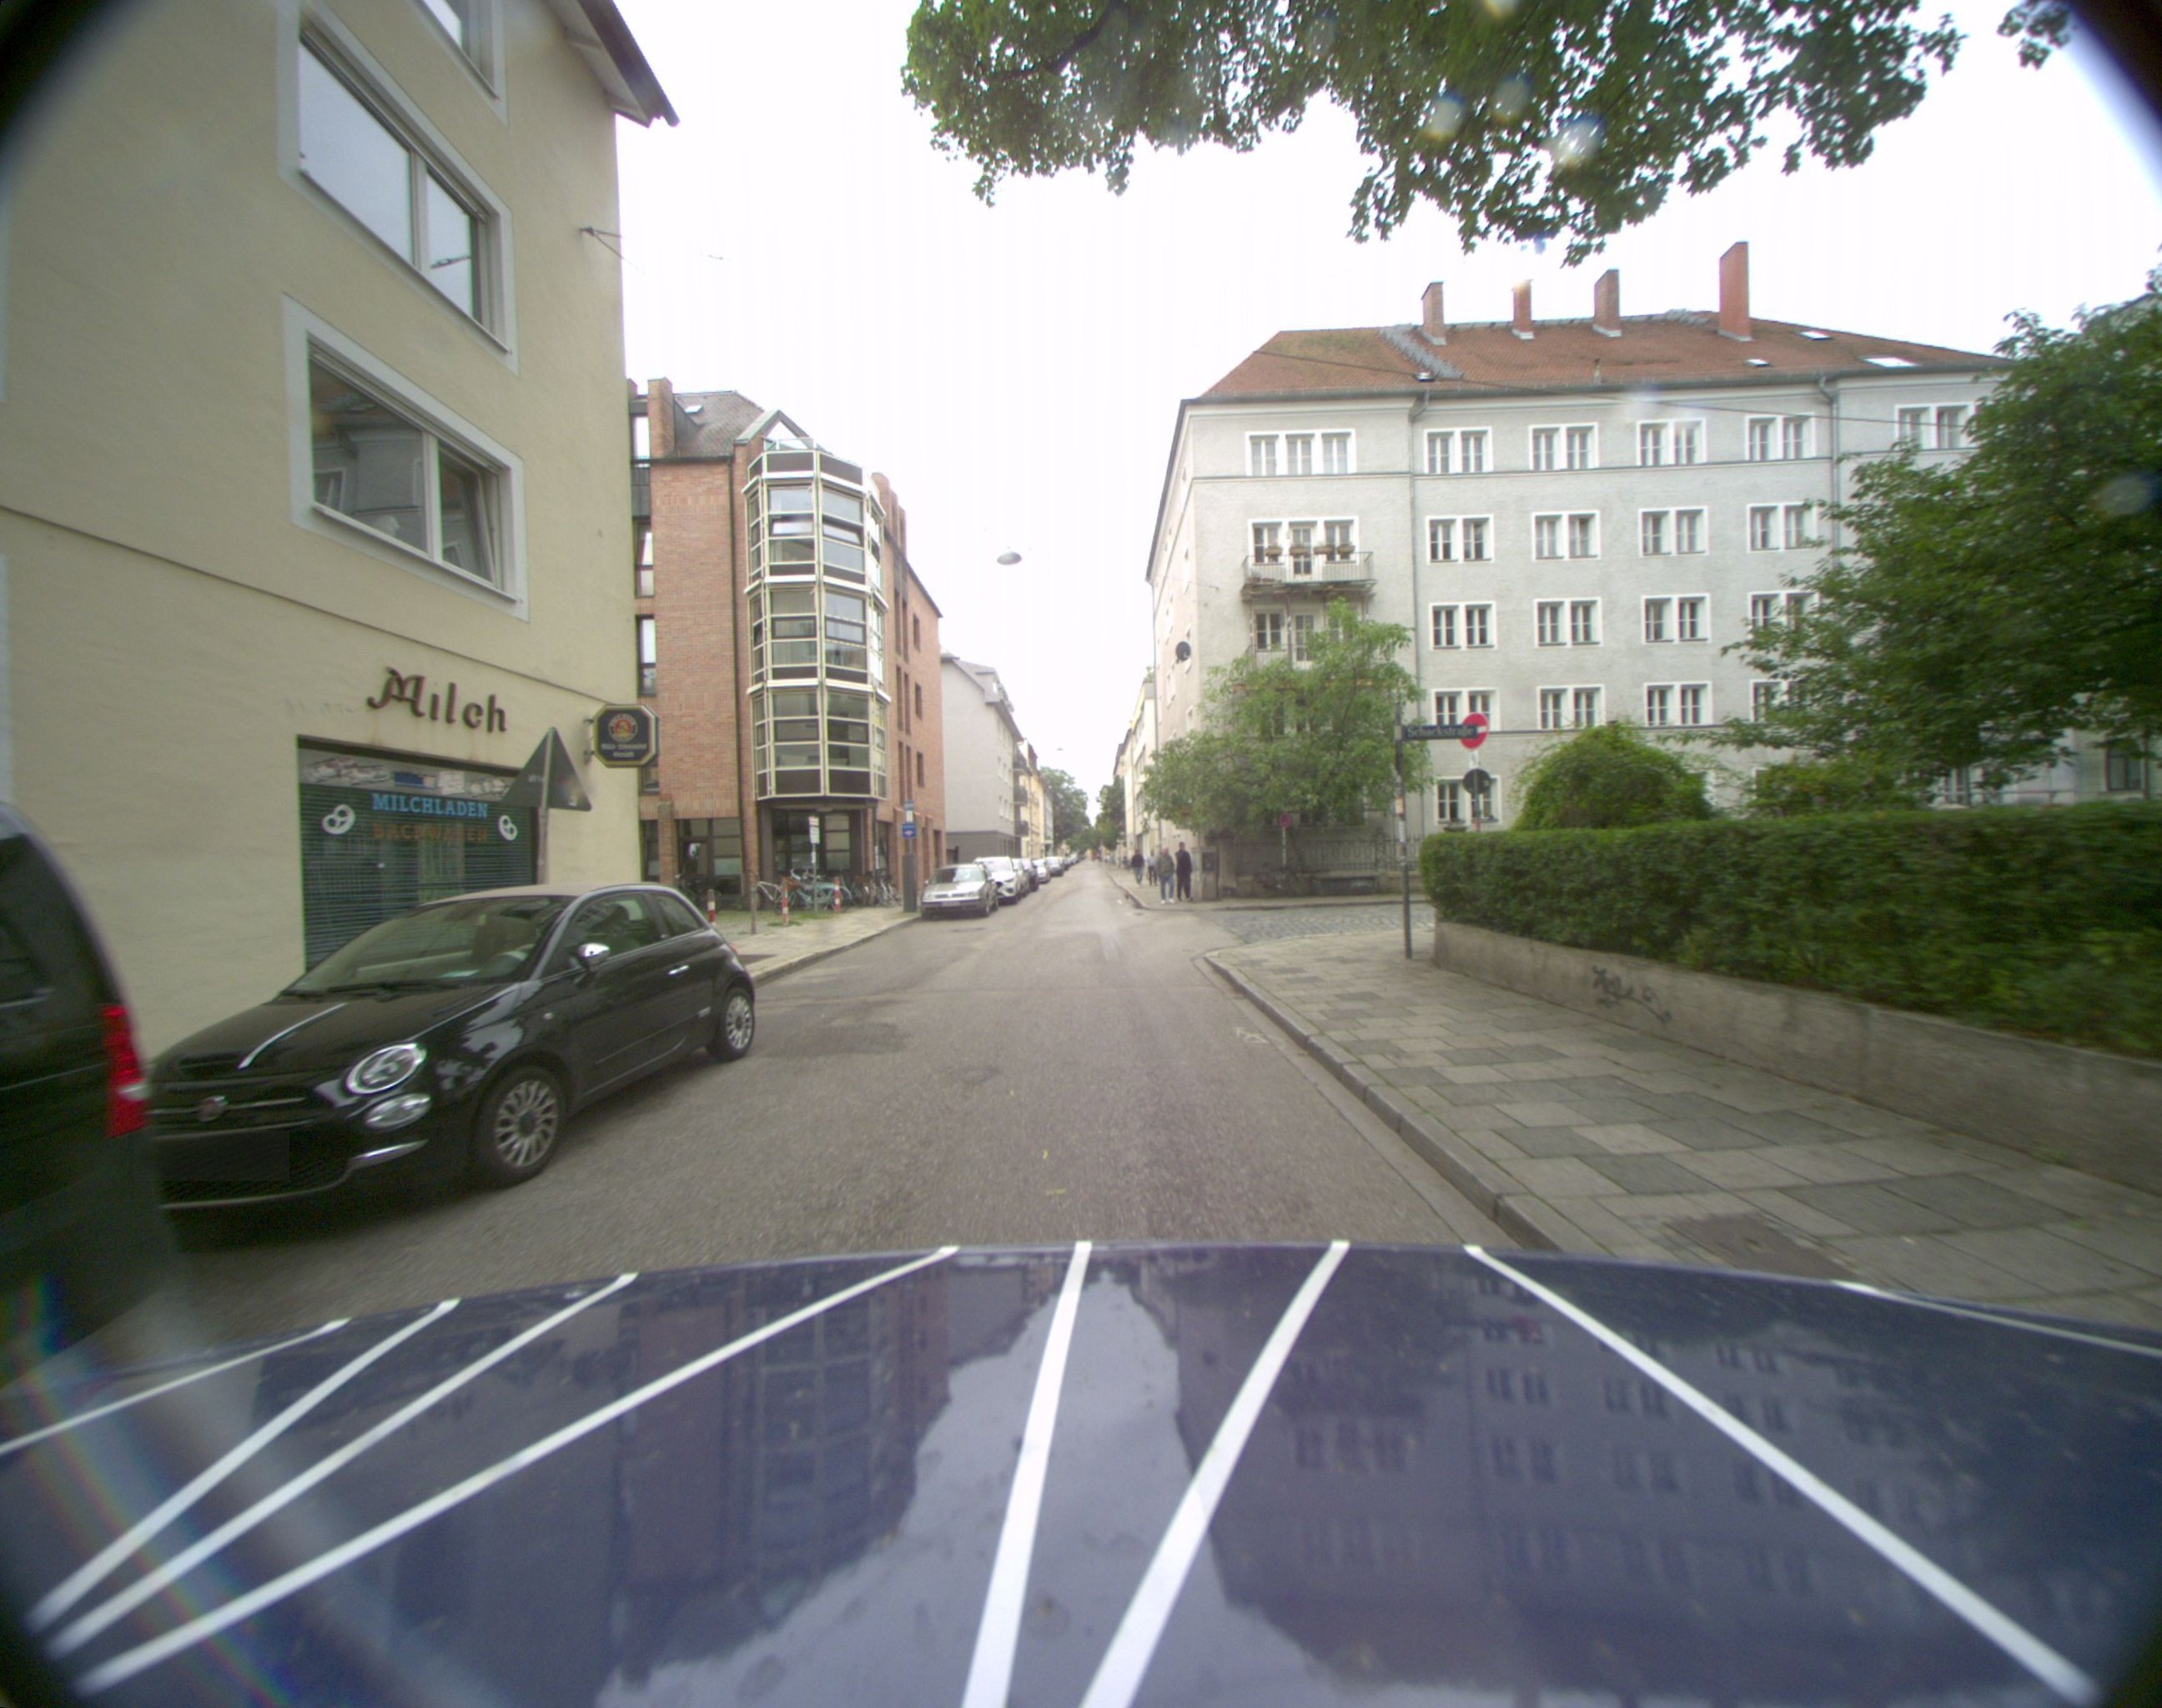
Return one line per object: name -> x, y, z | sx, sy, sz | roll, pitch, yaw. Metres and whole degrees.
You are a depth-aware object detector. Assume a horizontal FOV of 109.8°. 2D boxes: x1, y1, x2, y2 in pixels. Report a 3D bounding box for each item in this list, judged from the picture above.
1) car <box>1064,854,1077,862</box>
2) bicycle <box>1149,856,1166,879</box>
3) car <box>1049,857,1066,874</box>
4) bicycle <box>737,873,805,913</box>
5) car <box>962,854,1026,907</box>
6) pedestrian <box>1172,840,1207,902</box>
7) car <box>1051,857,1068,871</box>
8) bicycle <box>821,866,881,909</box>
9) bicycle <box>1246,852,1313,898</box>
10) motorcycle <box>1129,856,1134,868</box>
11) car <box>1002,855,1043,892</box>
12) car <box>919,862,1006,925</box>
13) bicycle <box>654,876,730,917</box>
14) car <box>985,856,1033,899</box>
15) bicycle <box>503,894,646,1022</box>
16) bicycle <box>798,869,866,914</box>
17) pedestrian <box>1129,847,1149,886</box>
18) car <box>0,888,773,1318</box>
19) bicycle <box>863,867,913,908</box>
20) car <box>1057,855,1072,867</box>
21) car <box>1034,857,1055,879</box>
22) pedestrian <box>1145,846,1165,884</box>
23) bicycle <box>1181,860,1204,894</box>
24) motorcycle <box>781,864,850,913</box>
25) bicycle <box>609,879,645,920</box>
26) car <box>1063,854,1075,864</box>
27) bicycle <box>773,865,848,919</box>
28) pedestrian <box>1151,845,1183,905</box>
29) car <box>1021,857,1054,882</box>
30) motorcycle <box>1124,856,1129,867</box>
car -> -1.709, 0.676, 124.971 | 1.998, 1.259, 4.000 | -3, 0, 1
bicycle -> 4.033, 0.716, 40.197 | 0.450, 1.187, 1.498 | -3, 0, -9
car -> -1.862, 0.908, 60.719 | 1.190, 1.312, 2.780 | -3, 0, 1
bicycle -> -8.658, 1.098, 21.237 | 1.752, 1.066, 0.443 | -1, 1, 7
car -> -2.961, 0.869, 26.785 | 1.725, 1.606, 4.454 | -3, 0, -1
pedestrian -> 3.208, 0.490, 22.488 | 0.692, 1.753, 0.741 | -4, 1, -9
car -> -2.015, 0.935, 71.520 | 1.352, 1.259, 3.037 | -3, 0, 1
bicycle -> -6.996, 1.000, 23.110 | 1.872, 1.222, 0.594 | -1, 2, 30
bicycle -> 5.736, 0.608, 21.992 | 1.811, 1.253, 0.432 | -2, 1, 0
motorcycle -> 4.242, 0.698, 63.628 | 0.324, 0.968, 1.961 | -3, 0, 1
car -> -2.764, 0.871, 36.490 | 1.619, 1.570, 4.051 | -3, 0, -1
car -> -3.190, 1.010, 21.220 | 1.725, 1.426, 4.358 | -3, 0, -1
bicycle -> -10.580, 1.160, 20.666 | 1.884, 1.066, 0.443 | -1, 1, 7
car -> -2.896, 0.899, 31.215 | 1.619, 1.548, 3.807 | -3, 0, -1
bicycle -> -5.846, 1.147, 8.903 | 0.411, 1.207, 1.818 | 1, 2, 1
bicycle -> -6.878, 1.031, 20.999 | 1.752, 1.180, 0.443 | 0, 1, 7
pedestrian -> 2.713, 0.560, 35.421 | 0.721, 1.718, 0.841 | -6, 1, 1
car -> -3.566, 1.082, 4.806 | 1.638, 1.462, 3.538 | -4, 0, 1
bicycle -> -6.151, 1.059, 24.266 | 0.741, 1.210, 1.782 | -1, 1, 15
car -> -1.848, 0.769, 86.310 | 1.525, 1.259, 3.210 | -3, 0, 1
car -> -2.451, 0.934, 51.666 | 1.154, 1.367, 2.685 | -3, 0, 1
pedestrian -> 3.431, 0.500, 35.403 | 0.695, 1.718, 0.841 | -6, 1, 1
bicycle -> 3.788, 0.771, 25.938 | 0.432, 1.088, 1.703 | -3, 0, -1
motorcycle -> -7.576, 0.968, 21.715 | 1.765, 1.376, 0.552 | 0, 1, -4
bicycle -> -12.490, 1.237, 20.901 | 1.422, 1.066, 0.443 | -1, 1, 43
car -> -1.706, 0.720, 107.537 | 1.557, 1.280, 3.538 | -3, 0, 1
bicycle -> -7.210, 0.992, 20.288 | 1.807, 1.315, 0.586 | -2, 2, -25
pedestrian -> 2.489, 0.596, 22.028 | 0.691, 1.668, 0.859 | -4, 1, -1
car -> -2.625, 0.934, 46.363 | 1.619, 1.368, 3.817 | -3, 0, 1
motorcycle -> 4.406, 0.725, 73.224 | 0.324, 0.968, 1.961 | -3, 0, 1
